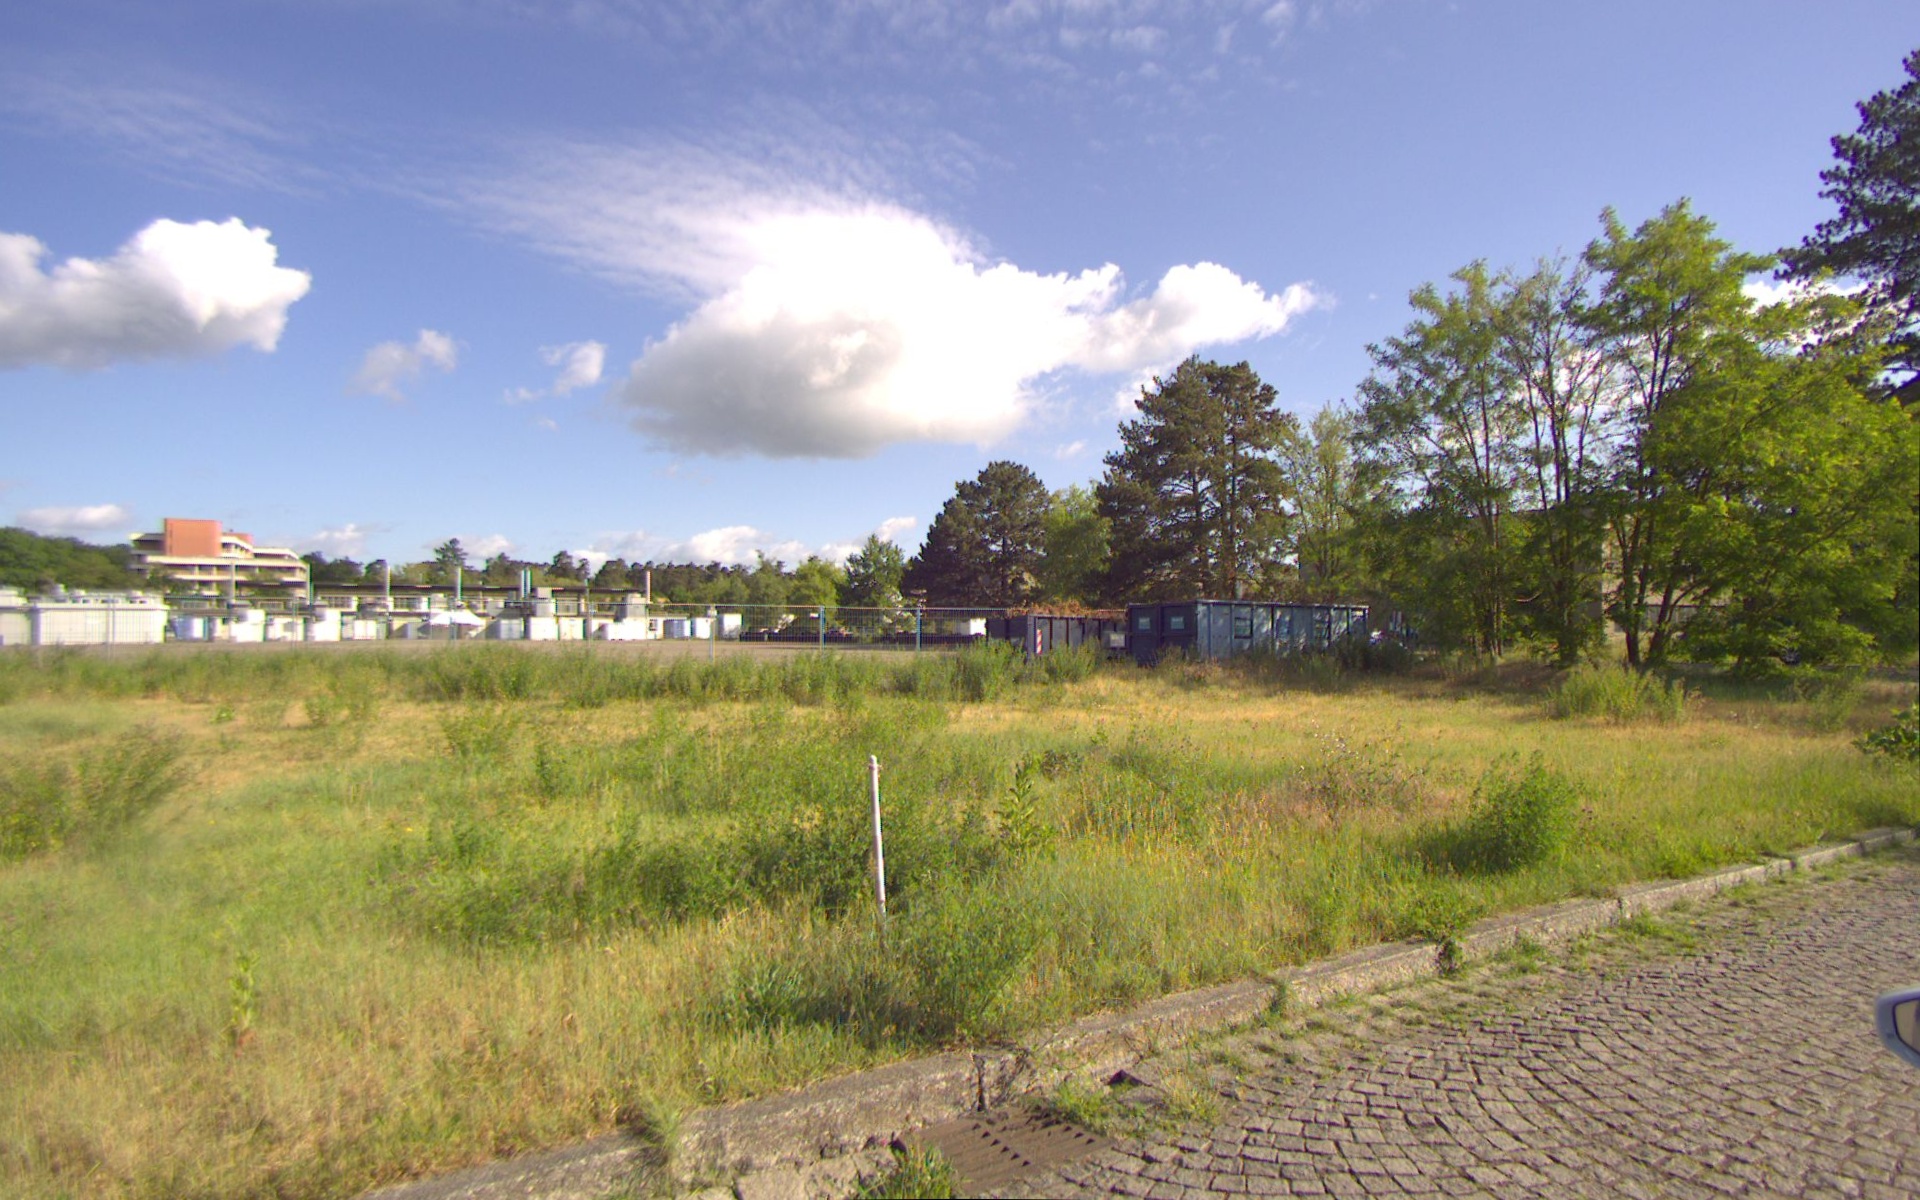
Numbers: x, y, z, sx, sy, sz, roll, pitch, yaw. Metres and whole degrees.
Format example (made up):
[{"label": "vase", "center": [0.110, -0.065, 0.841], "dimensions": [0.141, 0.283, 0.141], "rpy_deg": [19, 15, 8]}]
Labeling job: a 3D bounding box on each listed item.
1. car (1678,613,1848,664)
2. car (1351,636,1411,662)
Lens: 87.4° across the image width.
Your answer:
[{"label": "car", "center": [27.359, 1.295, 34.362], "dimensions": [1.985, 1.630, 4.127], "rpy_deg": [1, -2, -28]}, {"label": "car", "center": [30.125, 3.459, 71.888], "dimensions": [3.951, 1.802, 1.858], "rpy_deg": [1, -2, -27]}]
